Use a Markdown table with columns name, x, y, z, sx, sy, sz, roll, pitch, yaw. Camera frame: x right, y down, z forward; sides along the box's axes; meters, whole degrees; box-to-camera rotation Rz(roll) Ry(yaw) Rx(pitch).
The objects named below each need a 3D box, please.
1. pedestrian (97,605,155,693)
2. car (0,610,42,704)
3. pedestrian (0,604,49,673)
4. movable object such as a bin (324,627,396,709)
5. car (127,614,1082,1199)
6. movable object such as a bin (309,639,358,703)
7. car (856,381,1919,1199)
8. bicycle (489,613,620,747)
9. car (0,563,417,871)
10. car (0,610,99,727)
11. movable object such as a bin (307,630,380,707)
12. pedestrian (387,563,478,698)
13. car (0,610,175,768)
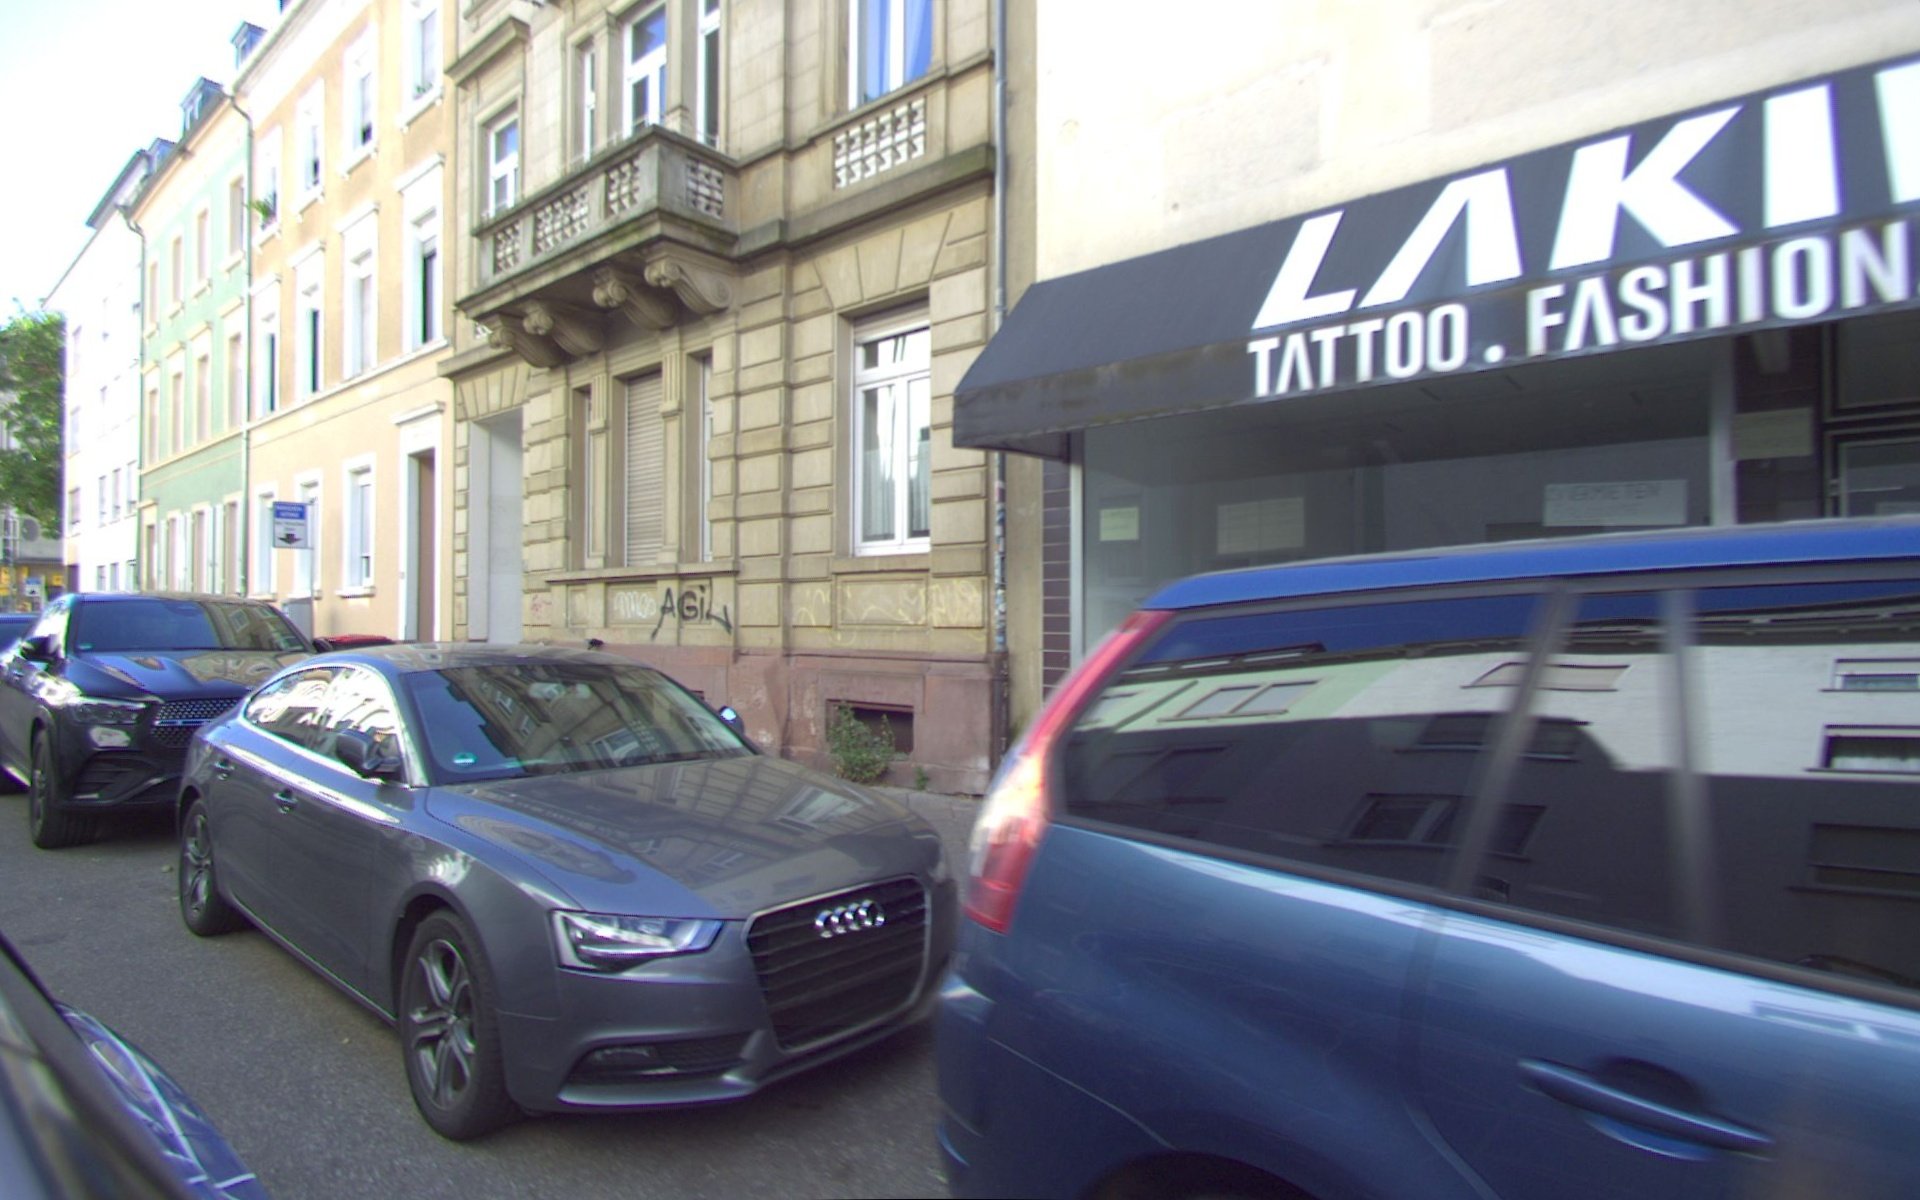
| name | x | y | z | sx | sy | sz | roll | pitch | yaw |
| --- | --- | --- | --- | --- | --- | --- | --- | --- | --- |
| pedestrian | -16.981 | 0.969 | 20.602 | 0.882 | 1.727 | 0.757 | 0 | 0 | 40 |
| car | -18.551 | 1.013 | 18.764 | 4.601 | 1.627 | 1.726 | -1 | -3 | 42 |
| pedestrian | -25.717 | 1.043 | 27.747 | 1.244 | 1.846 | 0.901 | 0 | -1 | 40 |
| movable object such as a bin | -8.733 | 0.976 | 14.739 | 0.584 | 1.140 | 0.713 | 0 | -1 | 37 |
| car | -1.982 | 0.825 | 4.497 | 4.815 | 1.428 | 1.826 | 0 | -2 | 41 |
| movable object such as a bin | -9.705 | 1.087 | 15.679 | 0.560 | 0.944 | 0.468 | -1 | 0 | 38 |
| car | 2.142 | 0.648 | 1.048 | 4.667 | 1.679 | 1.764 | -1 | -3 | 41 |
| bicycle | -4.314 | 0.791 | 10.686 | 1.866 | 1.286 | 0.505 | 0 | -1 | 42 |
| car | -6.462 | 0.717 | 8.176 | 5.139 | 1.749 | 1.916 | -1 | -2 | 41 |
| car | -14.200 | 0.946 | 14.941 | 3.974 | 1.565 | 1.599 | -1 | -2 | 40 |
| movable object such as a bin | -9.214 | 1.008 | 15.131 | 0.681 | 1.097 | 0.728 | -3 | -3 | 37 |
| pedestrian | -7.528 | 0.425 | 14.453 | 0.883 | 1.850 | 0.857 | 0 | -1 | 39 |
| car | -10.661 | 0.911 | 11.748 | 4.366 | 1.543 | 1.695 | -1 | -2 | 42 |
